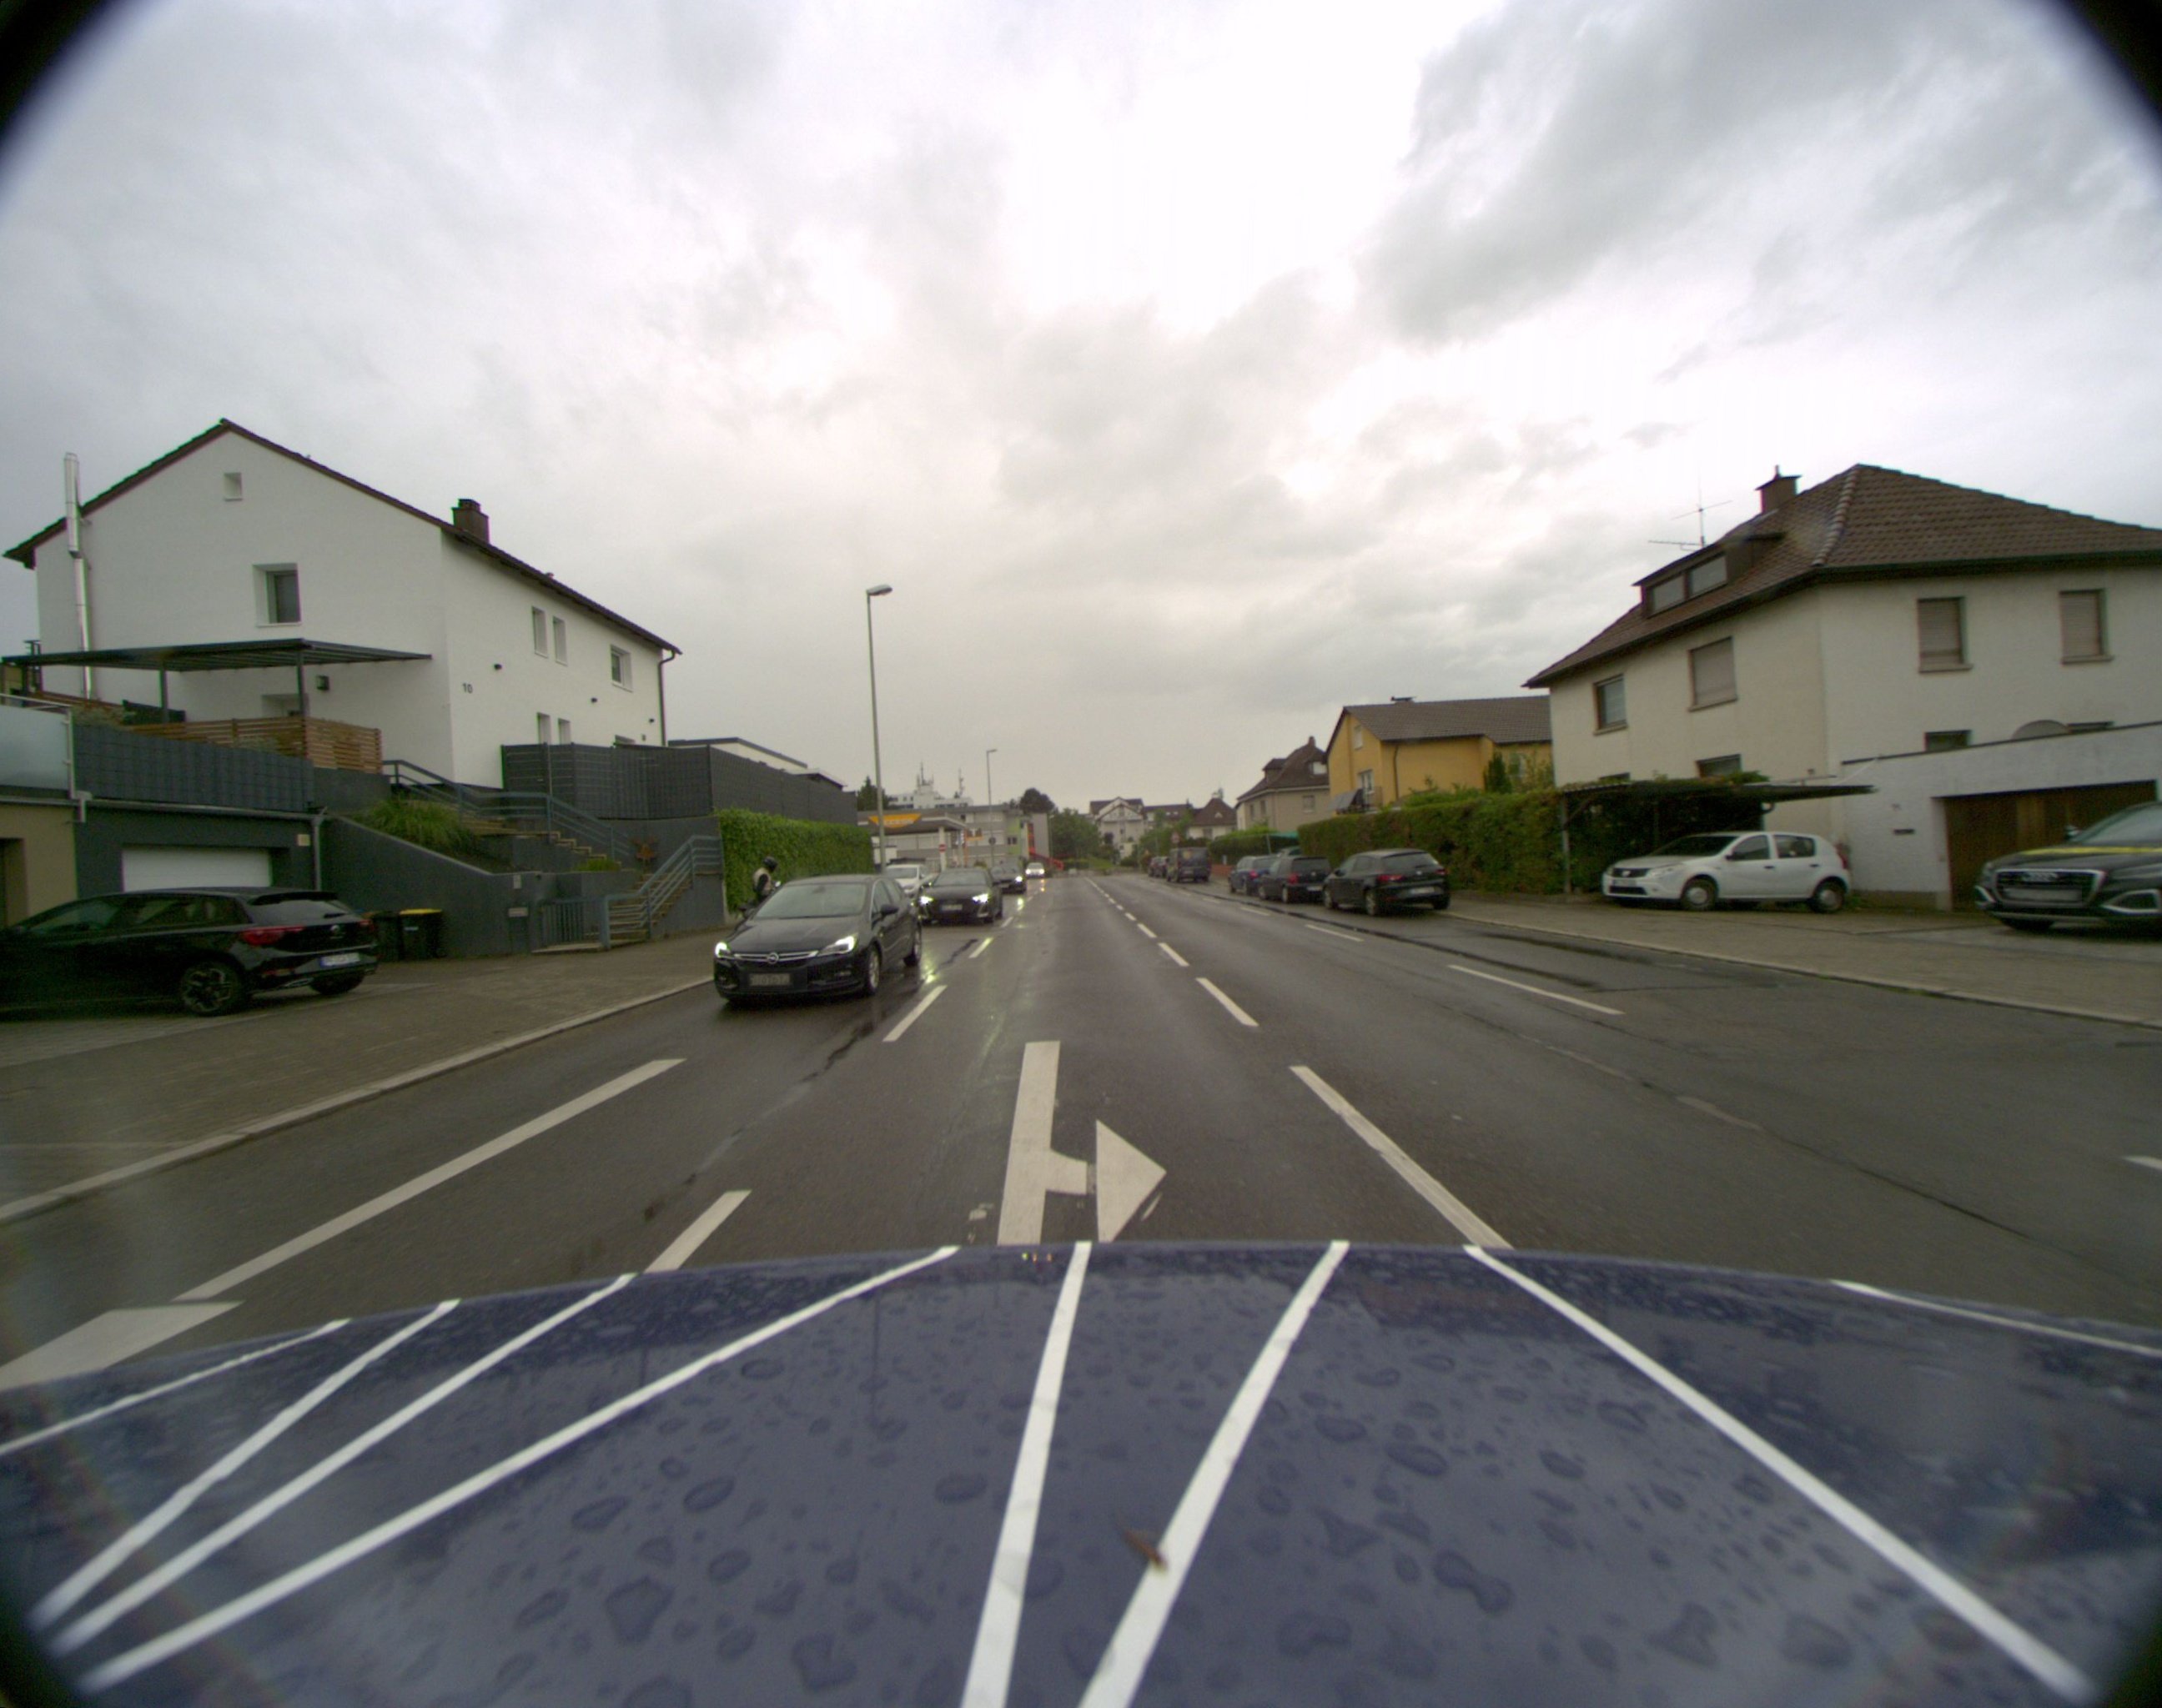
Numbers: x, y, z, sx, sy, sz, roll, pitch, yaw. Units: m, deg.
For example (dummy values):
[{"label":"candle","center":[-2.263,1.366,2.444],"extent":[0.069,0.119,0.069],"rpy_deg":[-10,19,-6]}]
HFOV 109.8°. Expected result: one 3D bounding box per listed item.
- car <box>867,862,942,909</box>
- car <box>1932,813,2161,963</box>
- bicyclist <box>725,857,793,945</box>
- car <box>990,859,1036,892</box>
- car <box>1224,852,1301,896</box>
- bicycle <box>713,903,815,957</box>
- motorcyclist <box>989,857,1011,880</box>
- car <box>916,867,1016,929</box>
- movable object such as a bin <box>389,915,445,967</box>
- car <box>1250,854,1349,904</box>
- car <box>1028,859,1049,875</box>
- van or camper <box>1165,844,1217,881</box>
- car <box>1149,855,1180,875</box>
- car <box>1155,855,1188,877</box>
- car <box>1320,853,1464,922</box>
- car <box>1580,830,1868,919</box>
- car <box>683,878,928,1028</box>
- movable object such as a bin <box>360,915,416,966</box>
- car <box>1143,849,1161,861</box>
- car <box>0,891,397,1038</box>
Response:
[{"label":"car","center":[-6.389,1.102,27.903],"extent":[1.737,1.481,4.000],"rpy_deg":[-2,0,1]},{"label":"car","center":[12.692,0.243,8.513],"extent":[4.109,1.411,1.884],"rpy_deg":[-4,0,1]},{"label":"bicyclist","center":[-6.270,0.896,14.832],"extent":[0.809,1.633,0.907],"rpy_deg":[-2,1,10]},{"label":"car","center":[-3.350,1.116,38.093],"extent":[1.840,1.447,4.003],"rpy_deg":[-2,-4,0]},{"label":"car","center":[6.906,0.721,29.287],"extent":[1.809,1.505,3.999],"rpy_deg":[-2,0,-2]},{"label":"bicycle","center":[-6.201,1.465,15.038],"extent":[0.732,0.821,2.236],"rpy_deg":[-2,0,10]},{"label":"motorcyclist","center":[-5.101,0.923,47.949],"extent":[0.991,1.413,0.955],"rpy_deg":[-2,1,22]},{"label":"car","center":[-3.009,1.115,21.002],"extent":[1.910,1.390,4.857],"rpy_deg":[-2,0,1]},{"label":"movable object such as a bin","center":[-12.145,1.584,13.905],"extent":[0.514,0.874,0.529],"rpy_deg":[-2,1,1]},{"label":"car","center":[6.774,0.717,24.010],"extent":[1.809,1.407,3.999],"rpy_deg":[-2,0,-2]},{"label":"car","center":[-4.044,1.289,73.181],"extent":[1.841,1.472,4.000],"rpy_deg":[-2,-1,-2]},{"label":"van or camper","center":[6.395,0.445,44.904],"extent":[2.190,2.002,5.133],"rpy_deg":[-2,1,-1]},{"label":"car","center":[6.496,0.813,59.455],"extent":[1.888,1.477,3.999],"rpy_deg":[-2,0,-1]},{"label":"car","center":[6.492,0.864,54.992],"extent":[1.888,1.477,4.000],"rpy_deg":[-2,0,1]},{"label":"car","center":[7.209,0.701,18.070],"extent":[1.809,1.407,4.000],"rpy_deg":[-2,0,1]},{"label":"car","center":[12.091,0.389,14.441],"extent":[4.112,1.475,1.839],"rpy_deg":[2,-1,-6]},{"label":"car","center":[-3.339,1.121,10.119],"extent":[1.841,1.390,3.999],"rpy_deg":[-2,1,-2]},{"label":"movable object such as a bin","center":[-12.671,1.573,13.910],"extent":[0.514,0.874,0.521],"rpy_deg":[-2,1,1]},{"label":"car","center":[9.371,0.106,100.017],"extent":[1.998,1.565,3.999],"rpy_deg":[-2,1,1]},{"label":"car","center":[-10.969,1.244,8.985],"extent":[3.999,1.395,1.672],"rpy_deg":[-2,0,-6]}]
